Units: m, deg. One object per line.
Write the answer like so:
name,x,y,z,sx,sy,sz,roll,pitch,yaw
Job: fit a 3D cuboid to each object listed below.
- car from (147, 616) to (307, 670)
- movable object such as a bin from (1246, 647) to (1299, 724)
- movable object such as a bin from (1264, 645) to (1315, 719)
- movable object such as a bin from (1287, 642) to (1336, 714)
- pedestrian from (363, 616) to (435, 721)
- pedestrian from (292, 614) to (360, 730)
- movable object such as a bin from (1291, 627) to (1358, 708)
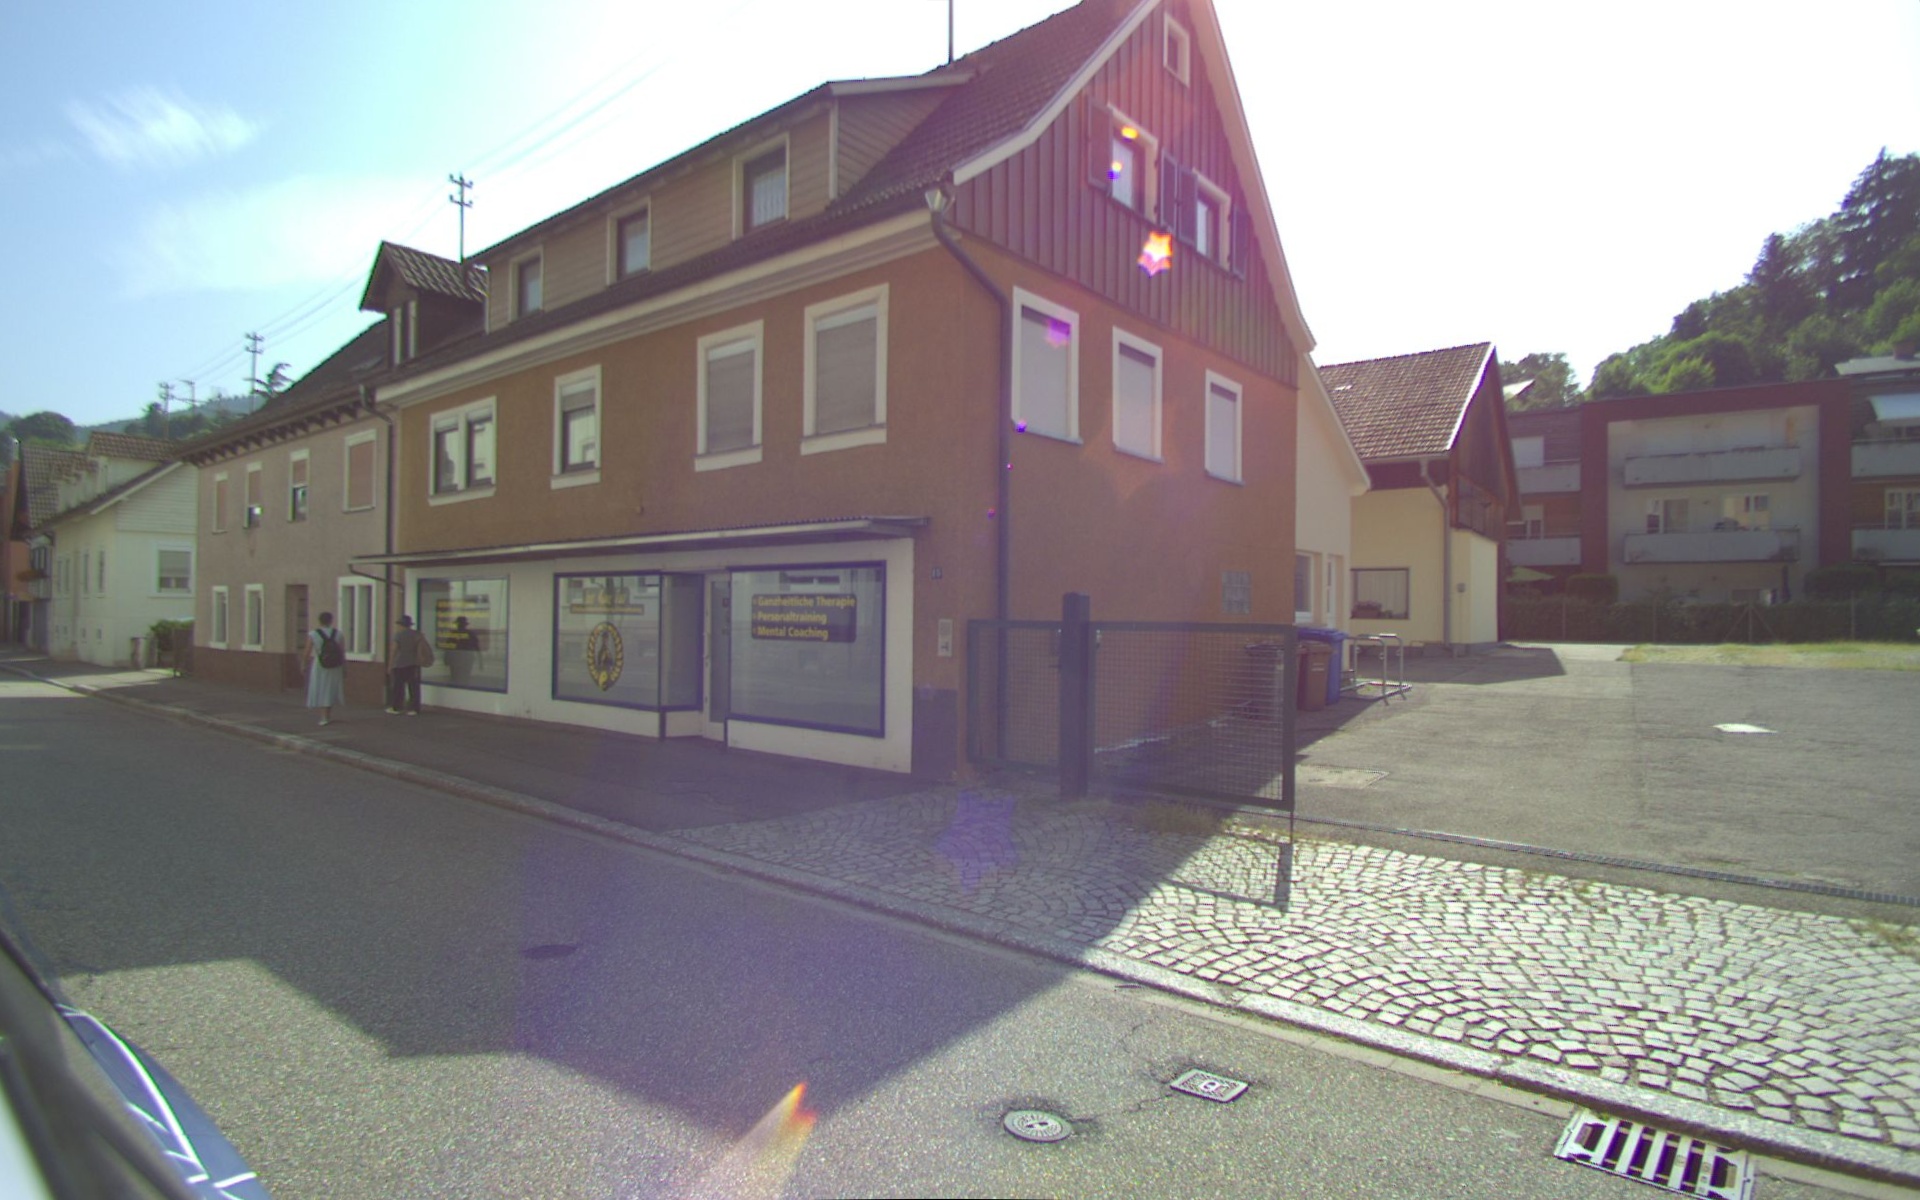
car,-24.196,1.365,33.501,1.905,1.606,3.949,-1,-1,38
movable object such as a bin,3.975,1.071,12.887,0.486,0.929,0.473,-1,-1,40
movable object such as a bin,4.356,1.070,13.364,0.486,0.929,0.473,-1,-1,40
movable object such as a bin,4.764,1.039,13.709,0.486,0.929,0.473,-1,-1,40
pedestrian,-8.808,1.050,15.880,0.824,1.576,0.727,-1,0,41
pedestrian,-9.390,1.038,14.985,0.777,1.638,0.632,-1,0,42
movable object such as a bin,5.161,0.936,14.329,0.744,1.102,0.538,-1,-1,40
